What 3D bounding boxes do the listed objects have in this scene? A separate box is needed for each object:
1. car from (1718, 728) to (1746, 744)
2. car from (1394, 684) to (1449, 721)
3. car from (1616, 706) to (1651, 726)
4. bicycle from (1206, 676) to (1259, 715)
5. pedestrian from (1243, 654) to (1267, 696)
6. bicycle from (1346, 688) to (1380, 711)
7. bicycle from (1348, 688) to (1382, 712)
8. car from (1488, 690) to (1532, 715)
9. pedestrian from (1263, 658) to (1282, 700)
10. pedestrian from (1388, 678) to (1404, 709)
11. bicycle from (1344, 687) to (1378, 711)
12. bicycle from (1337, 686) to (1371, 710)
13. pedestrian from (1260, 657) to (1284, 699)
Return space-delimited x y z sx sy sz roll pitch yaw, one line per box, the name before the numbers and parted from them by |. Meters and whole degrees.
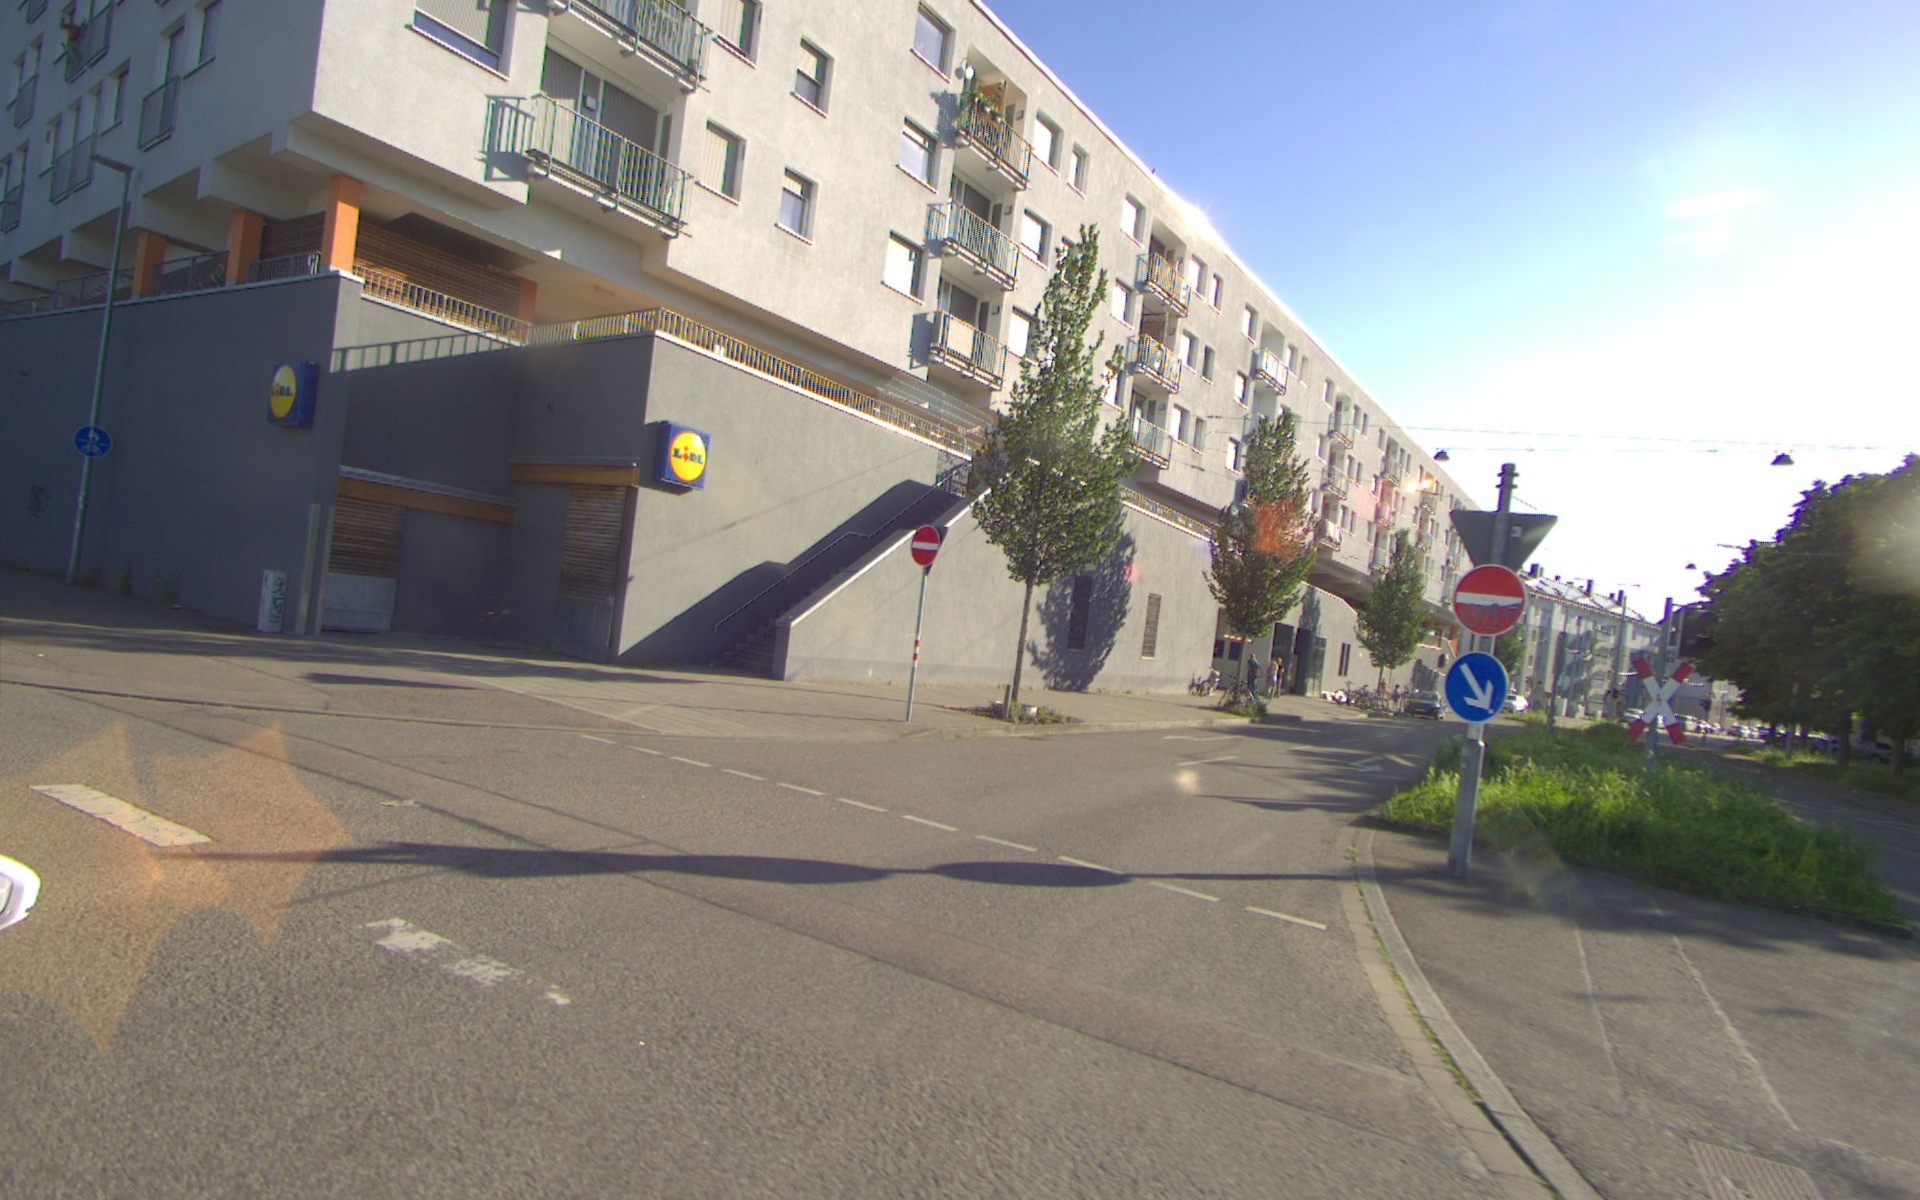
car | 103.277 18.134 134.537 3.972 1.658 1.980 10 -4 -39
car | 25.595 5.704 55.702 1.969 1.658 3.993 5 -4 36
car | 73.427 12.640 109.669 3.972 1.658 1.980 10 -4 -39
bicycle | 8.297 2.895 30.653 0.479 0.980 1.437 9 -3 -41
pedestrian | 12.829 3.281 43.778 0.659 1.720 0.593 9 -3 -42
bicycle | 20.574 5.087 51.368 1.434 0.980 0.480 5 -3 43
bicycle | 20.339 5.002 50.489 1.434 0.980 0.480 5 -3 43
car | 49.394 9.219 90.330 3.970 1.658 1.980 10 -4 -38
pedestrian | 14.403 3.643 46.302 0.589 1.851 0.663 6 -2 22
pedestrian | 26.125 5.598 60.283 0.652 1.720 0.600 6 -2 30
bicycle | 19.987 4.935 50.149 1.434 0.980 0.480 5 -3 43
bicycle | 19.409 4.822 49.567 1.434 0.980 0.480 5 -3 43
pedestrian | 13.683 3.414 44.078 0.659 1.720 0.593 9 -3 -42
